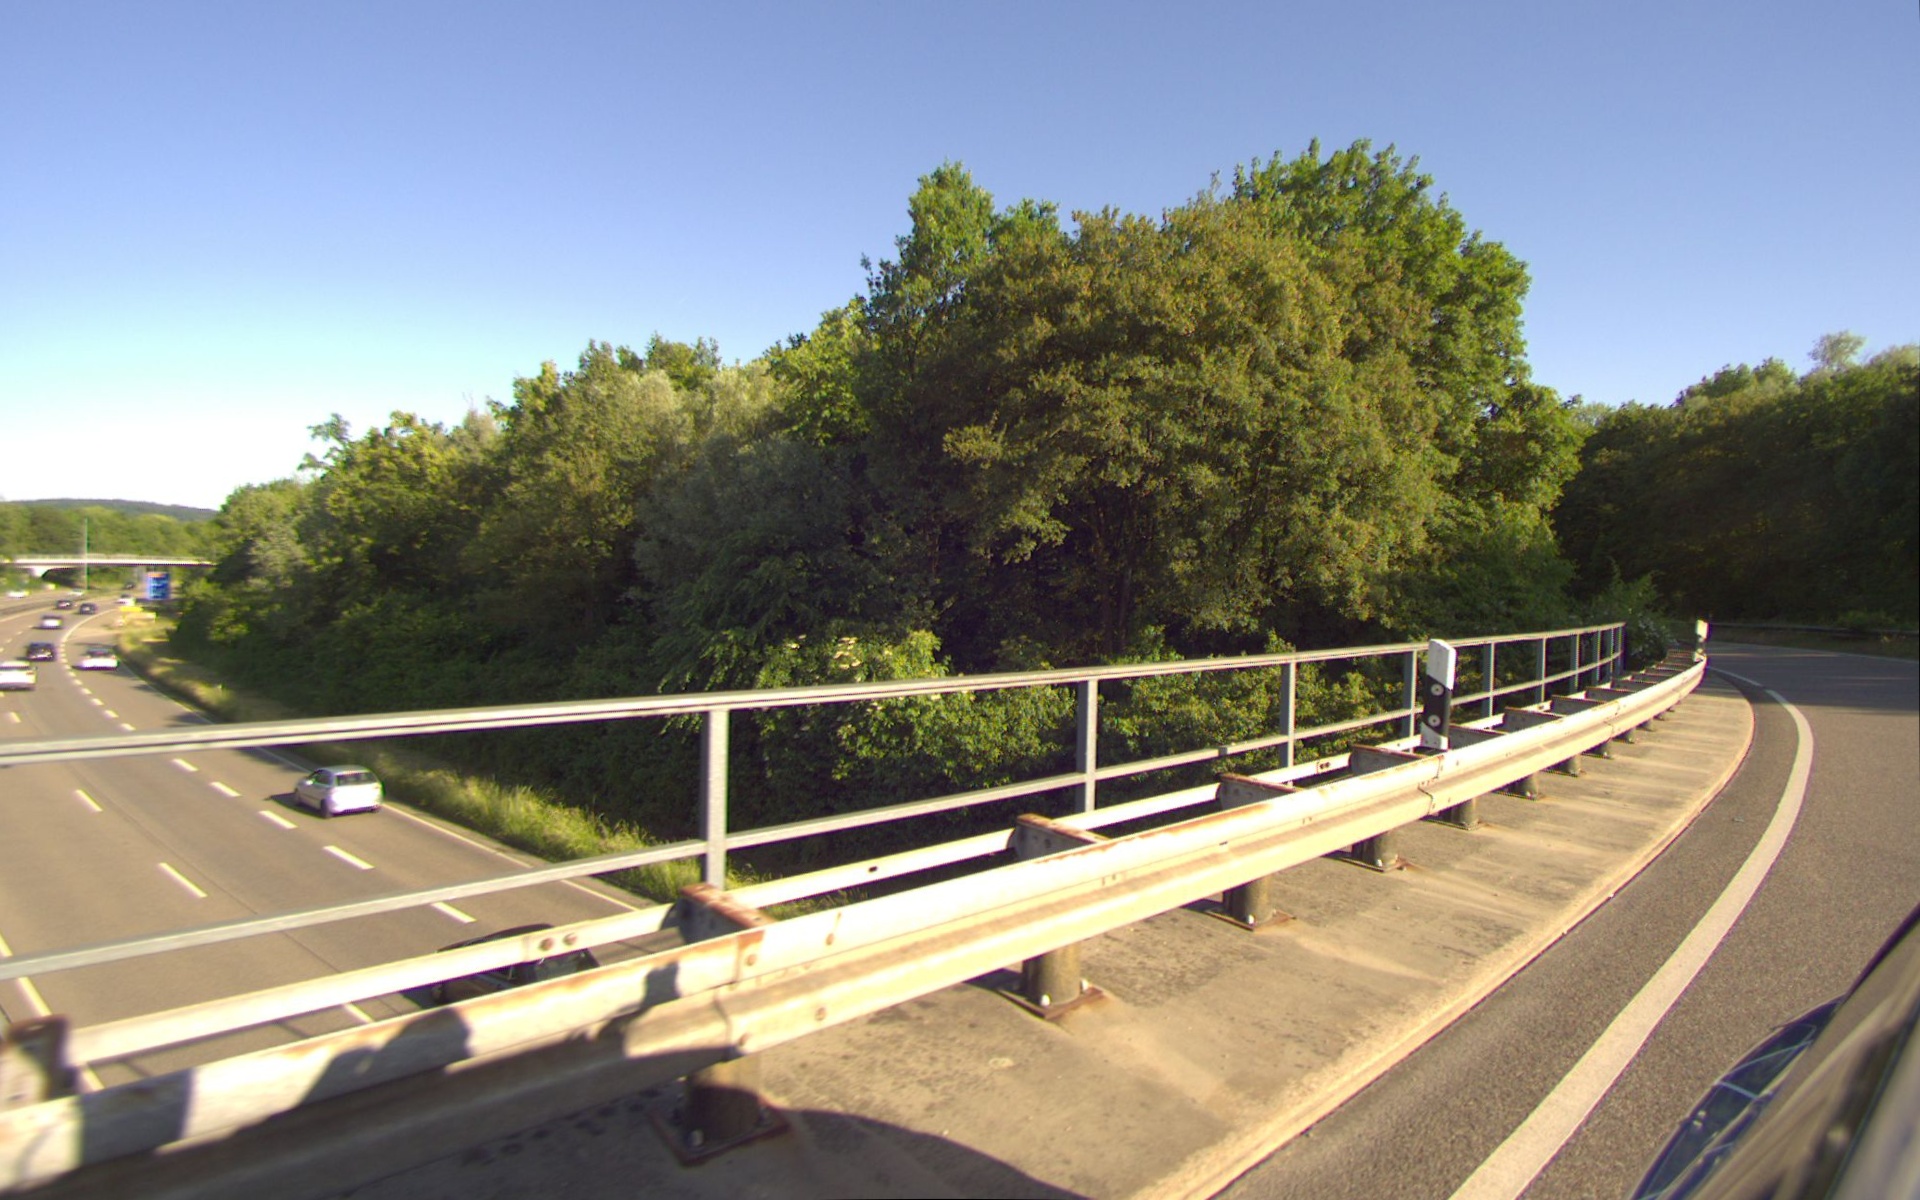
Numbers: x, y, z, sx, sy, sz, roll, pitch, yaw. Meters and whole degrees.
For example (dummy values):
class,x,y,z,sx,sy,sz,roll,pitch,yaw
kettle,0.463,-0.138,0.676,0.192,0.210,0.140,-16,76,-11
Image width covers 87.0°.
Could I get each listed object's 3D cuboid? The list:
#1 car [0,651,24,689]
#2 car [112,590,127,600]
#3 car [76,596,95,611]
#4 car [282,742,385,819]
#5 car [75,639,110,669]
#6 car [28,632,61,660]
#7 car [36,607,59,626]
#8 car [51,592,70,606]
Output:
class,x,y,z,sx,sy,sz,roll,pitch,yaw
car,-55.174,4.002,58.243,1.859,1.861,3.829,3,1,-43
car,-140.584,-0.847,169.263,1.728,1.531,3.858,1,2,-38
car,-118.017,0.500,136.608,1.728,1.861,3.998,1,1,-38
car,-20.368,5.784,32.841,3.855,1.682,1.717,4,1,41
car,-61.196,3.758,71.365,1.730,1.861,3.869,2,0,-43
car,-68.755,3.441,76.022,1.730,1.861,3.992,2,0,-43
car,-97.243,1.788,107.846,1.730,1.861,3.992,2,0,-43
car,-128.089,-0.153,144.155,1.728,1.860,3.998,1,2,-38
